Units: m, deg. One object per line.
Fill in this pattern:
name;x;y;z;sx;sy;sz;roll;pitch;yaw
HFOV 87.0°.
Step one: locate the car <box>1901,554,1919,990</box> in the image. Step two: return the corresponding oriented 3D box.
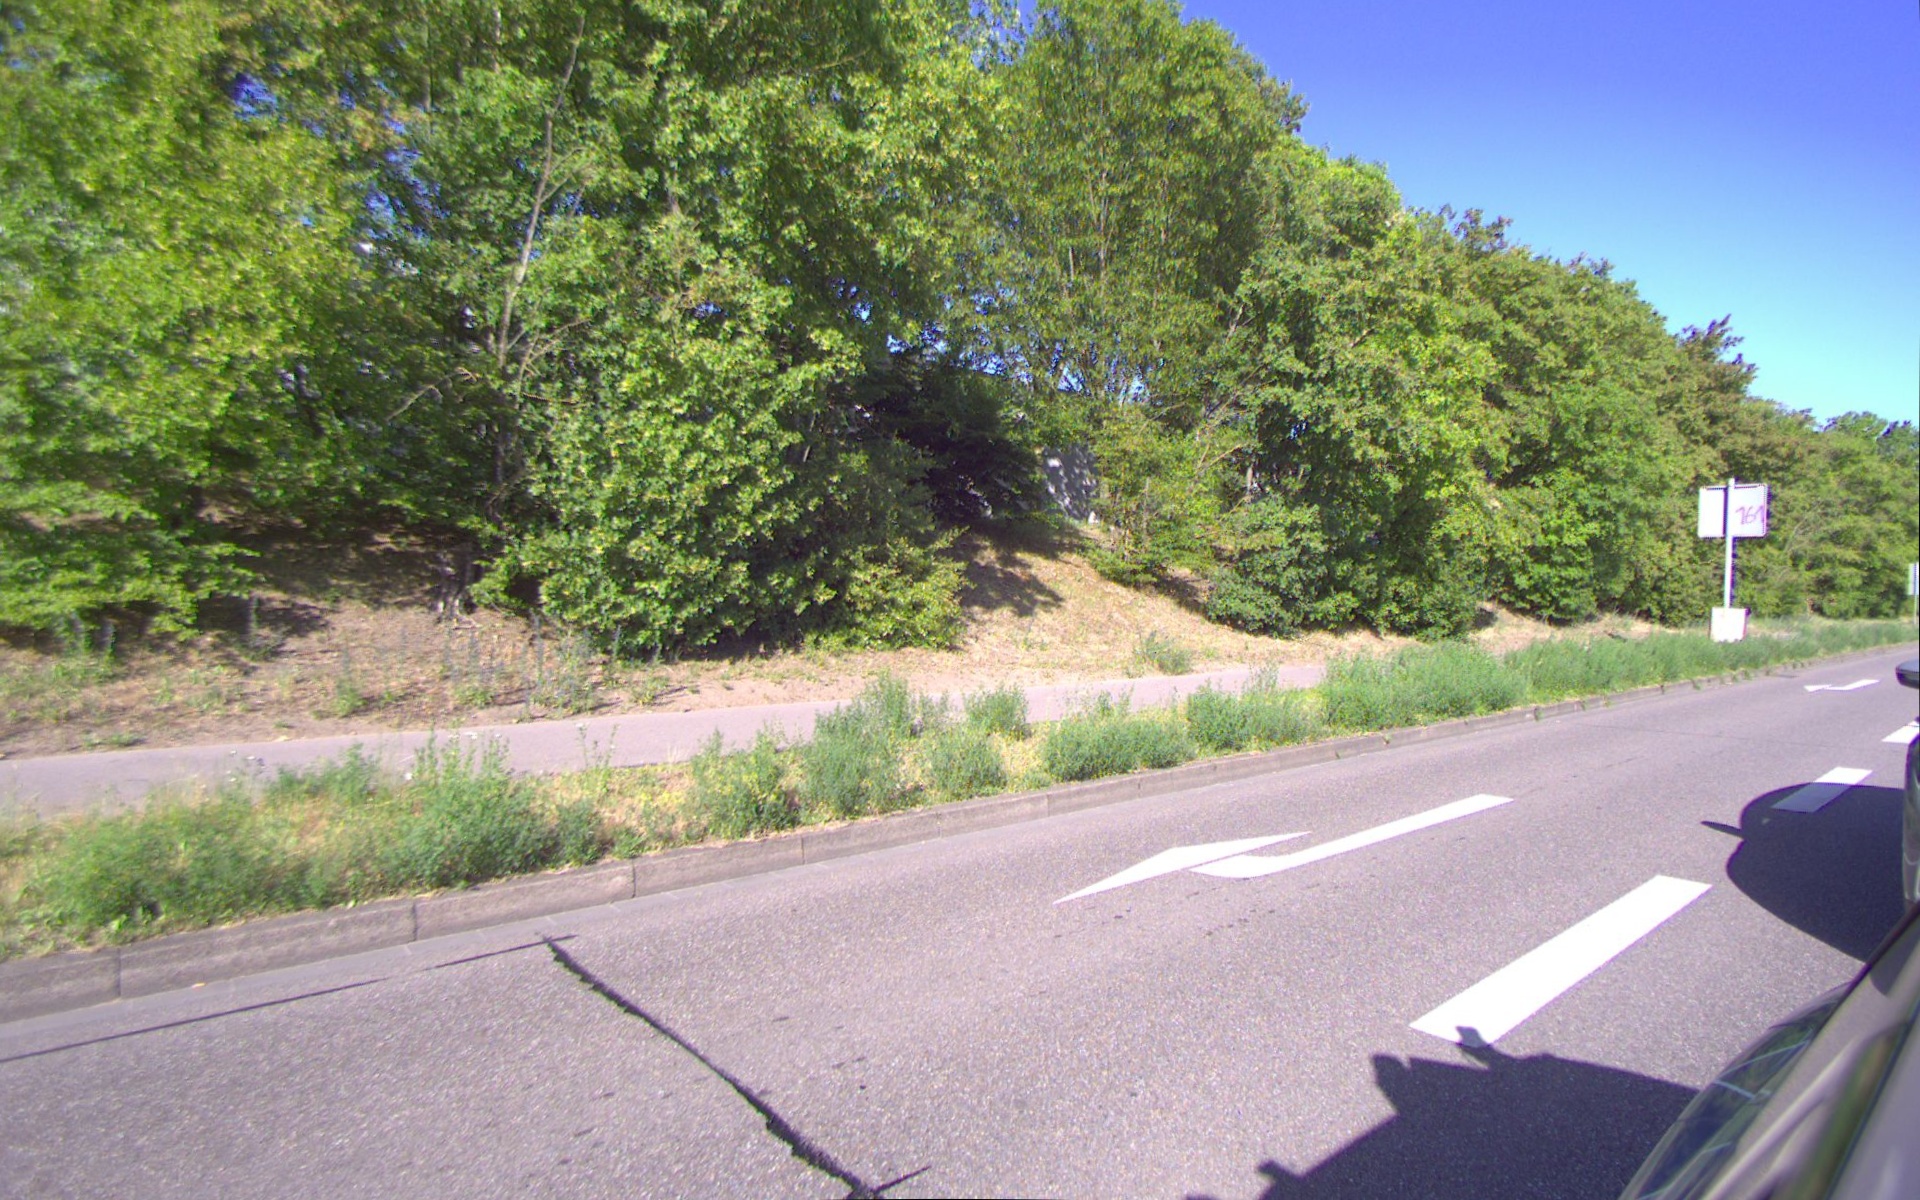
car;5.588;0.652;4.342;3.863;1.617;1.869;0;0;-41
